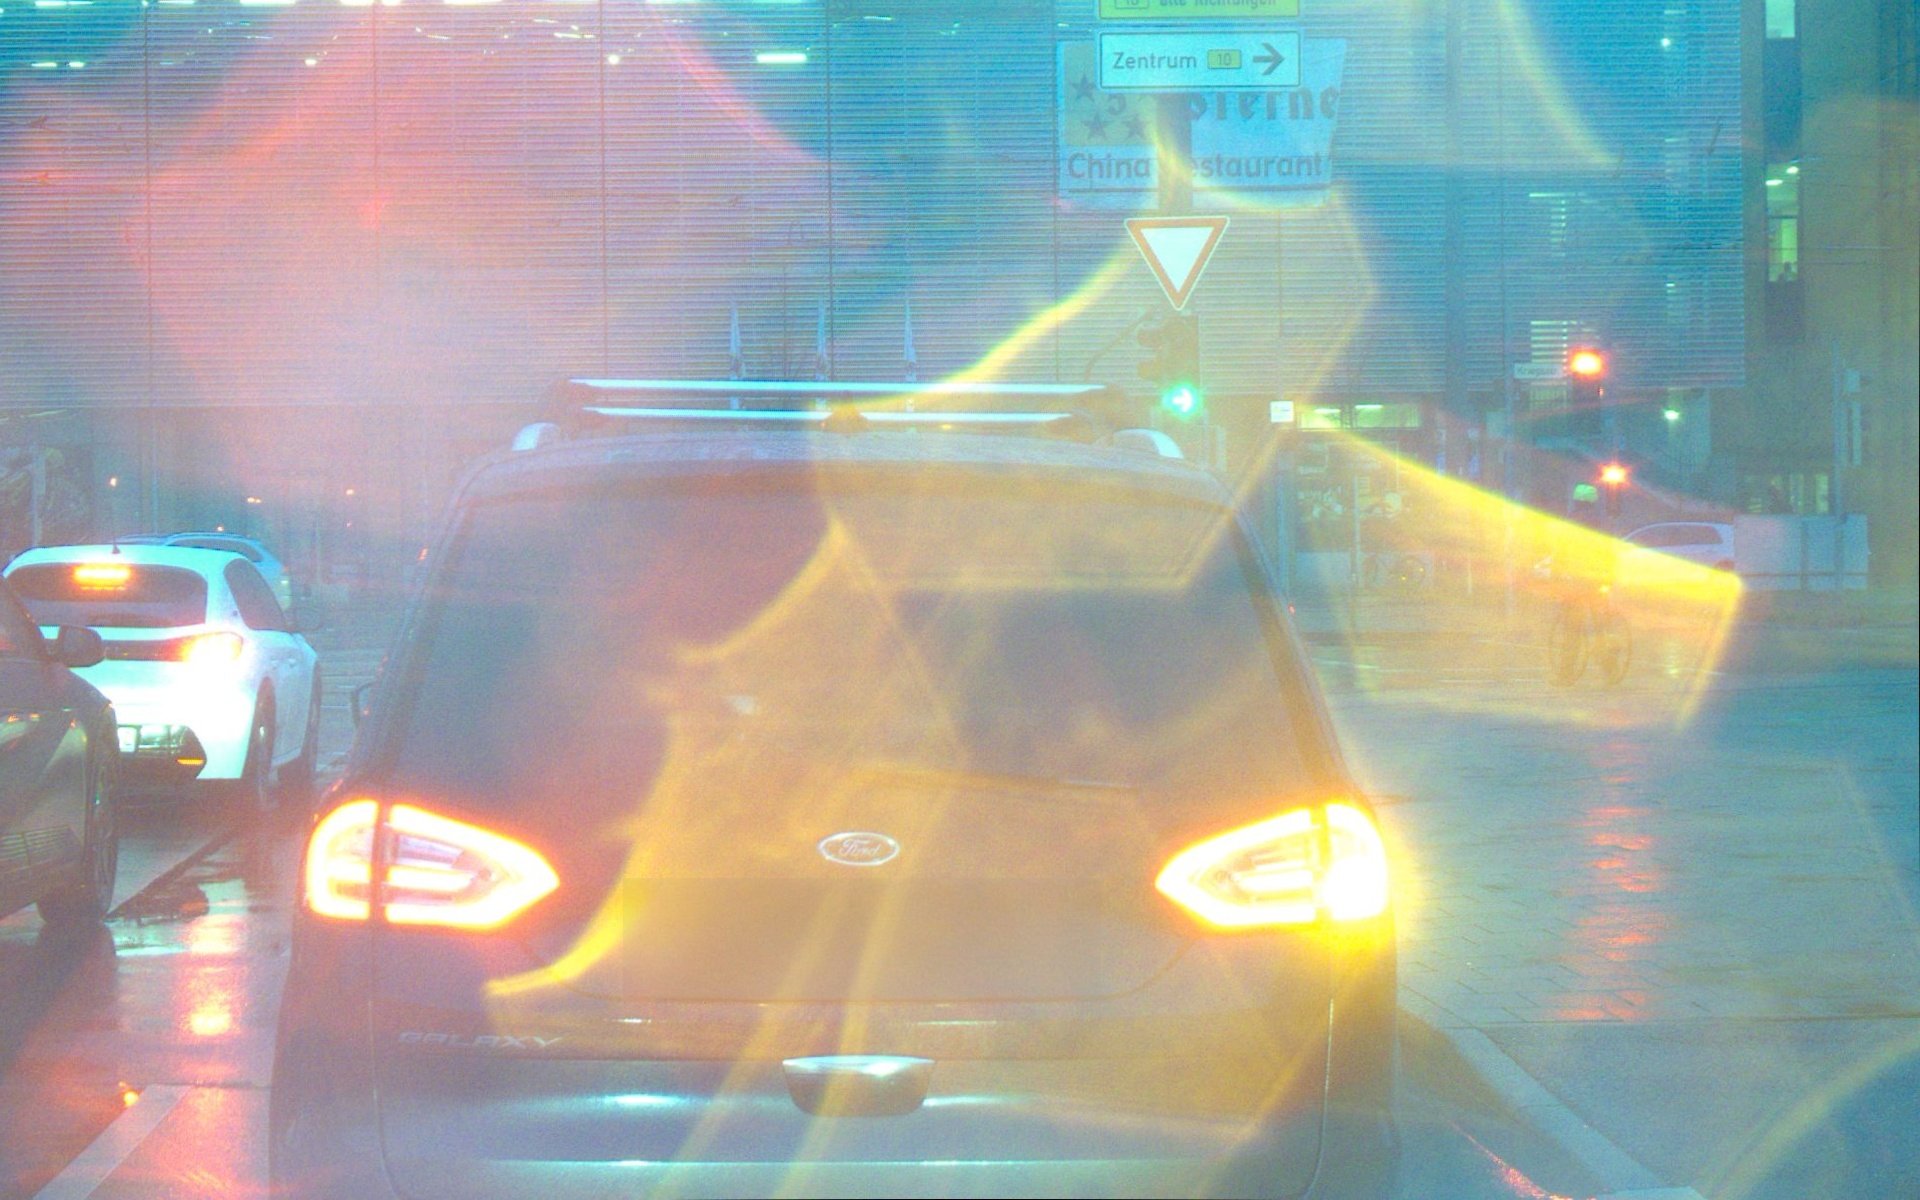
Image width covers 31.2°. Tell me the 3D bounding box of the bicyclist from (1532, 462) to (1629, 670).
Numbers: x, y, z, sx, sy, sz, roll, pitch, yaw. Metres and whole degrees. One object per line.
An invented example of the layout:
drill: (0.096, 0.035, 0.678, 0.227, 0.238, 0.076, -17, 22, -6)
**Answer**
bicyclist: (5.723, -0.318, 31.754, 0.791, 1.884, 0.989, -1, 1, 5)

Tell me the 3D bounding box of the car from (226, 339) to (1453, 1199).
car: (-0.208, 0.504, 6.766, 1.674, 1.773, 4.000, 1, 1, -1)

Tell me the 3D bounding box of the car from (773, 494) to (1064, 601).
car: (-0.764, -0.974, 62.884, 4.945, 1.865, 1.906, -1, 1, -19)

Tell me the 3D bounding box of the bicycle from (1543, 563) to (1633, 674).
bicycle: (5.801, 0.160, 31.822, 0.655, 0.970, 1.866, -1, 1, 5)

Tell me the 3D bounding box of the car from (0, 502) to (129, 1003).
car: (-4.020, 0.467, 11.597, 1.820, 1.564, 4.363, -1, 1, -7)

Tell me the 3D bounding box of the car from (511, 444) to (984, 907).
car: (-1.023, 0.241, 15.783, 1.843, 1.800, 4.488, -1, 1, -5)

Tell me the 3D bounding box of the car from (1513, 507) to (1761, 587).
car: (13.061, -1.030, 66.477, 4.326, 1.481, 1.867, -1, 1, -6)

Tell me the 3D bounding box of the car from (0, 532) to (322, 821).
car: (-4.642, 0.347, 19.360, 1.758, 1.458, 3.918, 0, 1, -6)

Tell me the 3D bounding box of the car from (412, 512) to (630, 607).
car: (-8.967, -0.836, 70.408, 4.358, 1.865, 1.905, -1, 1, -6)

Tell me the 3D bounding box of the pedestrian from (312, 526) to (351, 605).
pedestrian: (-14.141, -0.779, 77.337, 0.787, 1.781, 0.733, -1, 1, -5)
